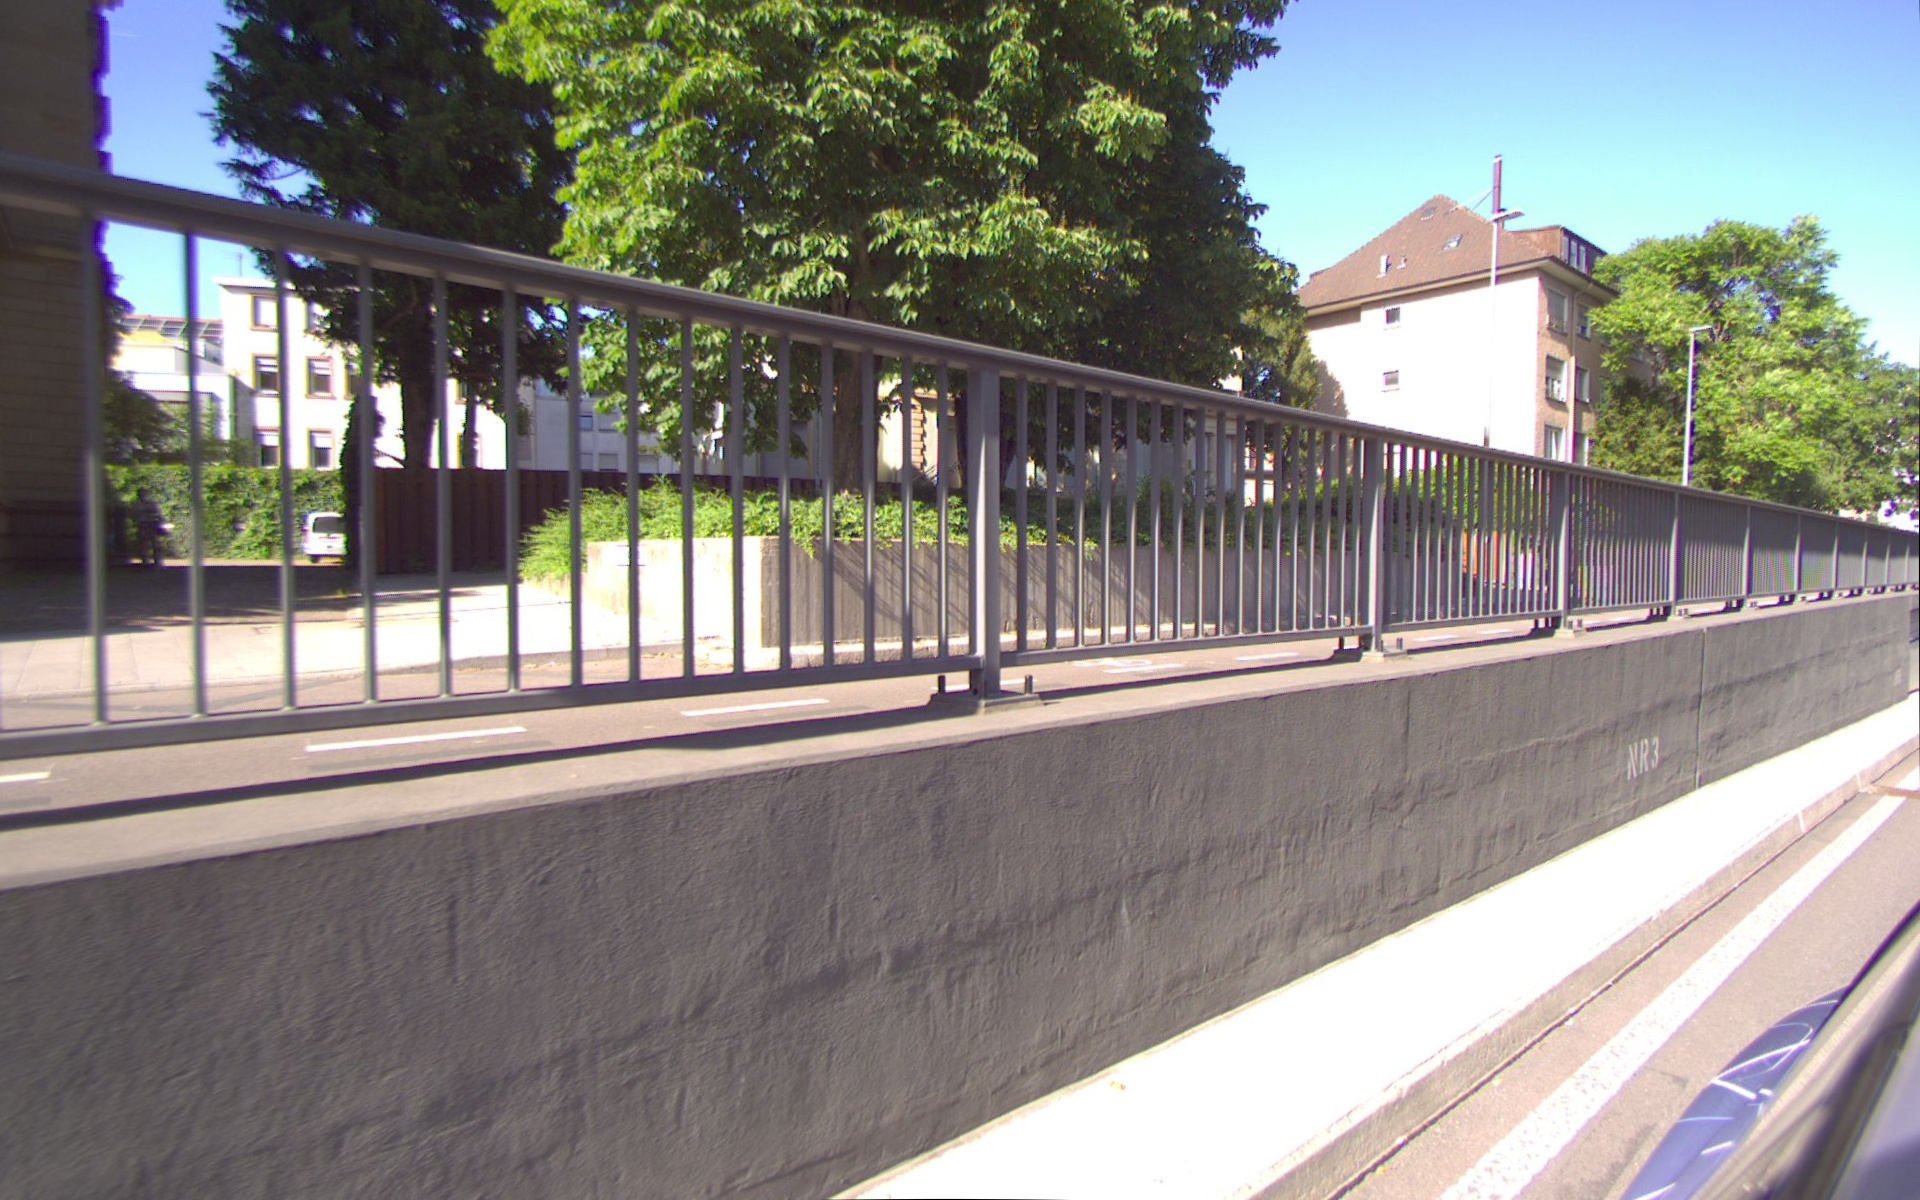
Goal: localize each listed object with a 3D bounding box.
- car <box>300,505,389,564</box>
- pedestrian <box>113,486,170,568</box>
[{"bbox_3d":[-22.079,-2.309,36.474,1.806,1.906,3.923,-1,1,-17],"label":"car"},{"bbox_3d":[-15.463,-1.353,19.141,0.797,1.499,0.854,-1,1,-37],"label":"pedestrian"}]
